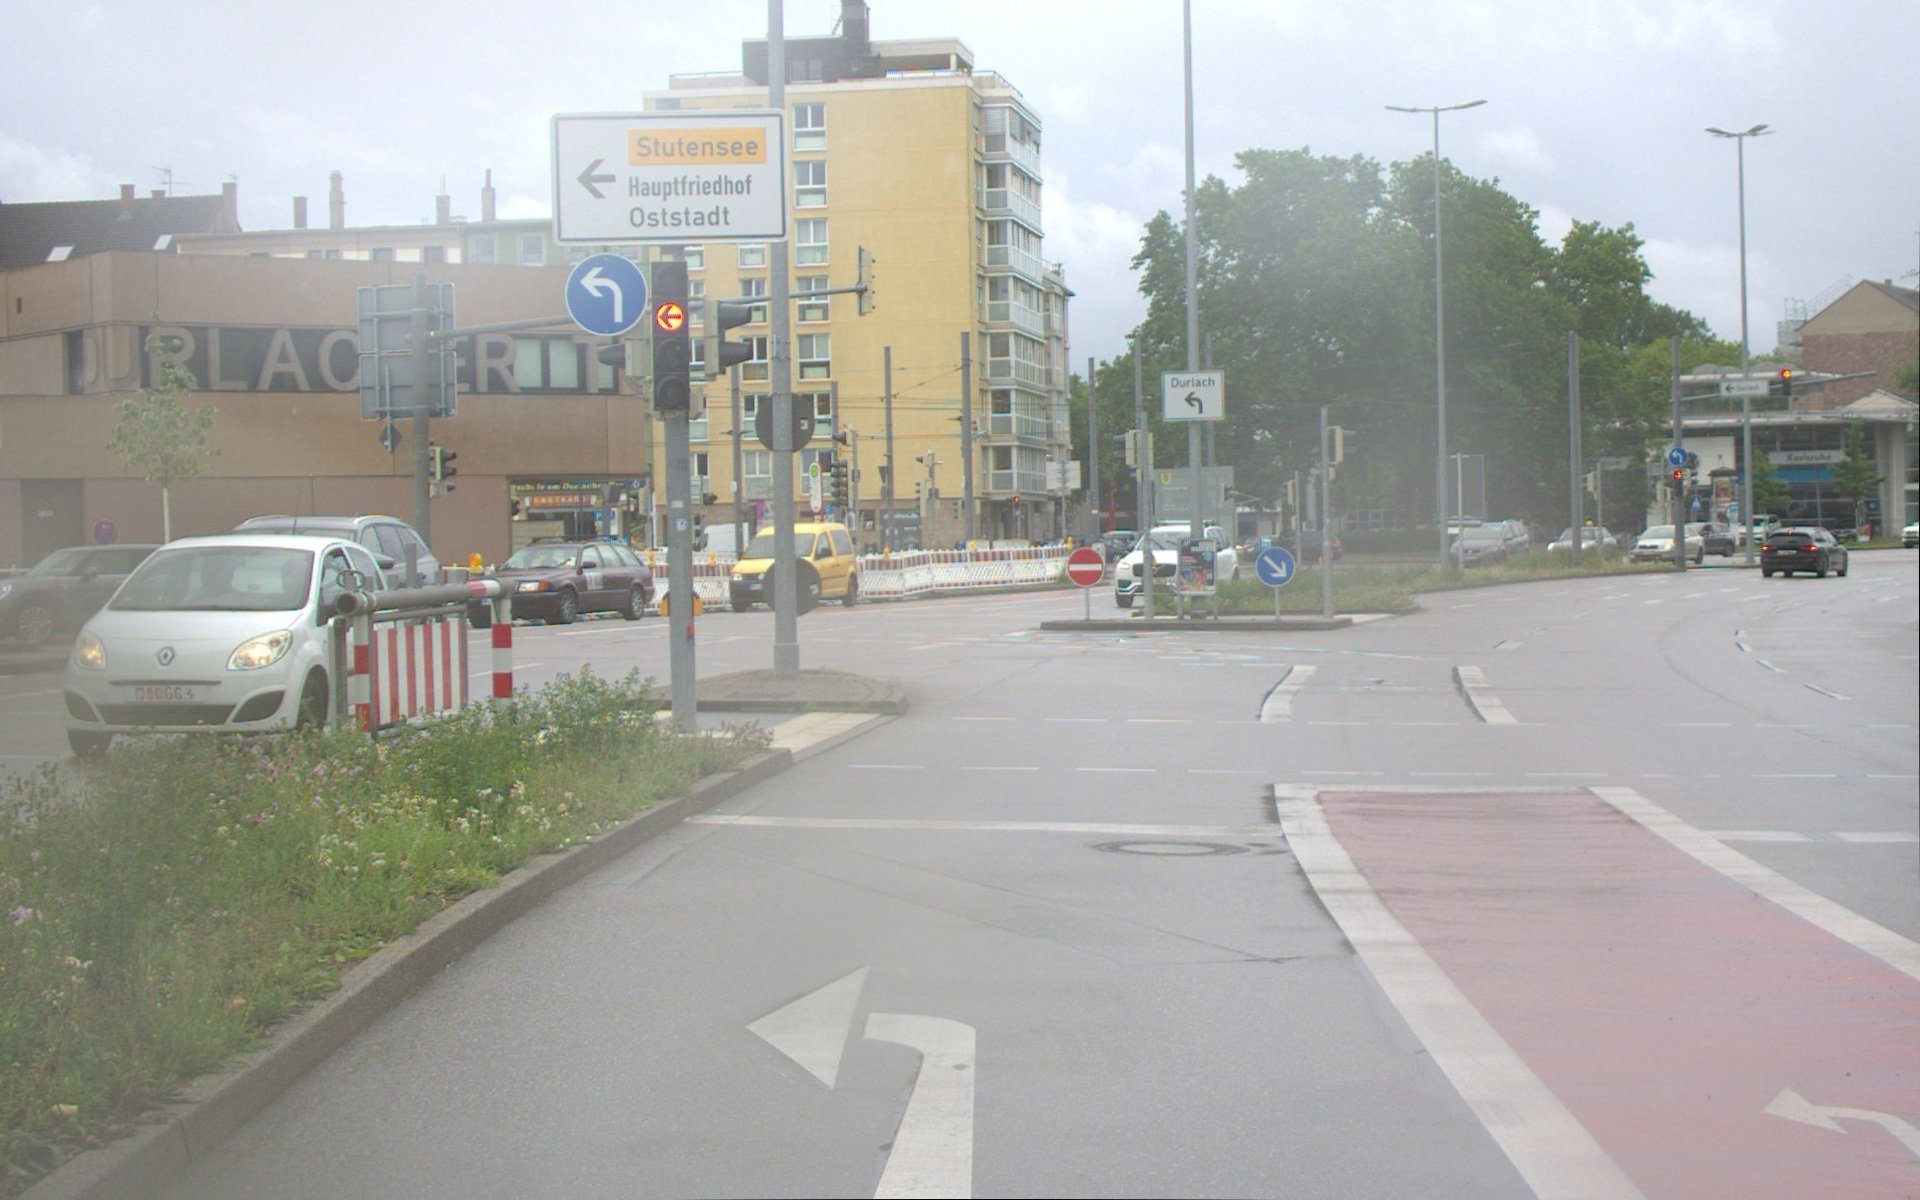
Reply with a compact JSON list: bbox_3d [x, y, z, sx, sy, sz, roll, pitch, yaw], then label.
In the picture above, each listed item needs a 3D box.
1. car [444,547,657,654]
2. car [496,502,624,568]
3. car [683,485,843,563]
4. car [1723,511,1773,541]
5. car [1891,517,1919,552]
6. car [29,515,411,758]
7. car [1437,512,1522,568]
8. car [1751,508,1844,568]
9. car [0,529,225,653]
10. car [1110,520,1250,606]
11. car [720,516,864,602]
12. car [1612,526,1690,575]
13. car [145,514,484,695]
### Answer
[{"bbox_3d":[-6.933,-0.022,58.624,1.707,1.700,4.456,0,1,21],"label":"car"},{"bbox_3d":[-18.172,-2.977,156.252,5.352,2.877,2.338,-1,1,6],"label":"car"},{"bbox_3d":[-8.855,-3.420,155.008,6.743,3.368,2.809,-1,1,6],"label":"car"},{"bbox_3d":[45.081,-4.225,196.654,1.792,1.637,4.153,0,1,27],"label":"car"},{"bbox_3d":[47.135,-3.191,166.427,4.384,1.637,1.795,-2,2,-40],"label":"car"},{"bbox_3d":[-5.024,0.186,23.833,1.679,1.496,3.868,-2,1,1],"label":"car"},{"bbox_3d":[17.794,-2.061,117.631,1.696,1.684,4.178,-1,3,26],"label":"car"},{"bbox_3d":[24.005,-1.788,98.466,1.792,1.637,4.154,0,1,25],"label":"car"},{"bbox_3d":[-12.924,-0.153,50.391,3.809,1.700,1.710,-2,2,-38],"label":"car"},{"bbox_3d":[4.798,-0.826,74.330,1.827,1.676,5.162,-2,1,17],"label":"car"},{"bbox_3d":[-3.446,-0.866,71.271,1.706,1.700,4.150,-1,1,16],"label":"car"},{"bbox_3d":[24.751,-1.781,123.075,1.696,1.410,4.178,-1,4,26],"label":"car"},{"bbox_3d":[-6.465,-0.009,35.003,1.994,1.630,4.602,-3,1,7],"label":"car"}]
